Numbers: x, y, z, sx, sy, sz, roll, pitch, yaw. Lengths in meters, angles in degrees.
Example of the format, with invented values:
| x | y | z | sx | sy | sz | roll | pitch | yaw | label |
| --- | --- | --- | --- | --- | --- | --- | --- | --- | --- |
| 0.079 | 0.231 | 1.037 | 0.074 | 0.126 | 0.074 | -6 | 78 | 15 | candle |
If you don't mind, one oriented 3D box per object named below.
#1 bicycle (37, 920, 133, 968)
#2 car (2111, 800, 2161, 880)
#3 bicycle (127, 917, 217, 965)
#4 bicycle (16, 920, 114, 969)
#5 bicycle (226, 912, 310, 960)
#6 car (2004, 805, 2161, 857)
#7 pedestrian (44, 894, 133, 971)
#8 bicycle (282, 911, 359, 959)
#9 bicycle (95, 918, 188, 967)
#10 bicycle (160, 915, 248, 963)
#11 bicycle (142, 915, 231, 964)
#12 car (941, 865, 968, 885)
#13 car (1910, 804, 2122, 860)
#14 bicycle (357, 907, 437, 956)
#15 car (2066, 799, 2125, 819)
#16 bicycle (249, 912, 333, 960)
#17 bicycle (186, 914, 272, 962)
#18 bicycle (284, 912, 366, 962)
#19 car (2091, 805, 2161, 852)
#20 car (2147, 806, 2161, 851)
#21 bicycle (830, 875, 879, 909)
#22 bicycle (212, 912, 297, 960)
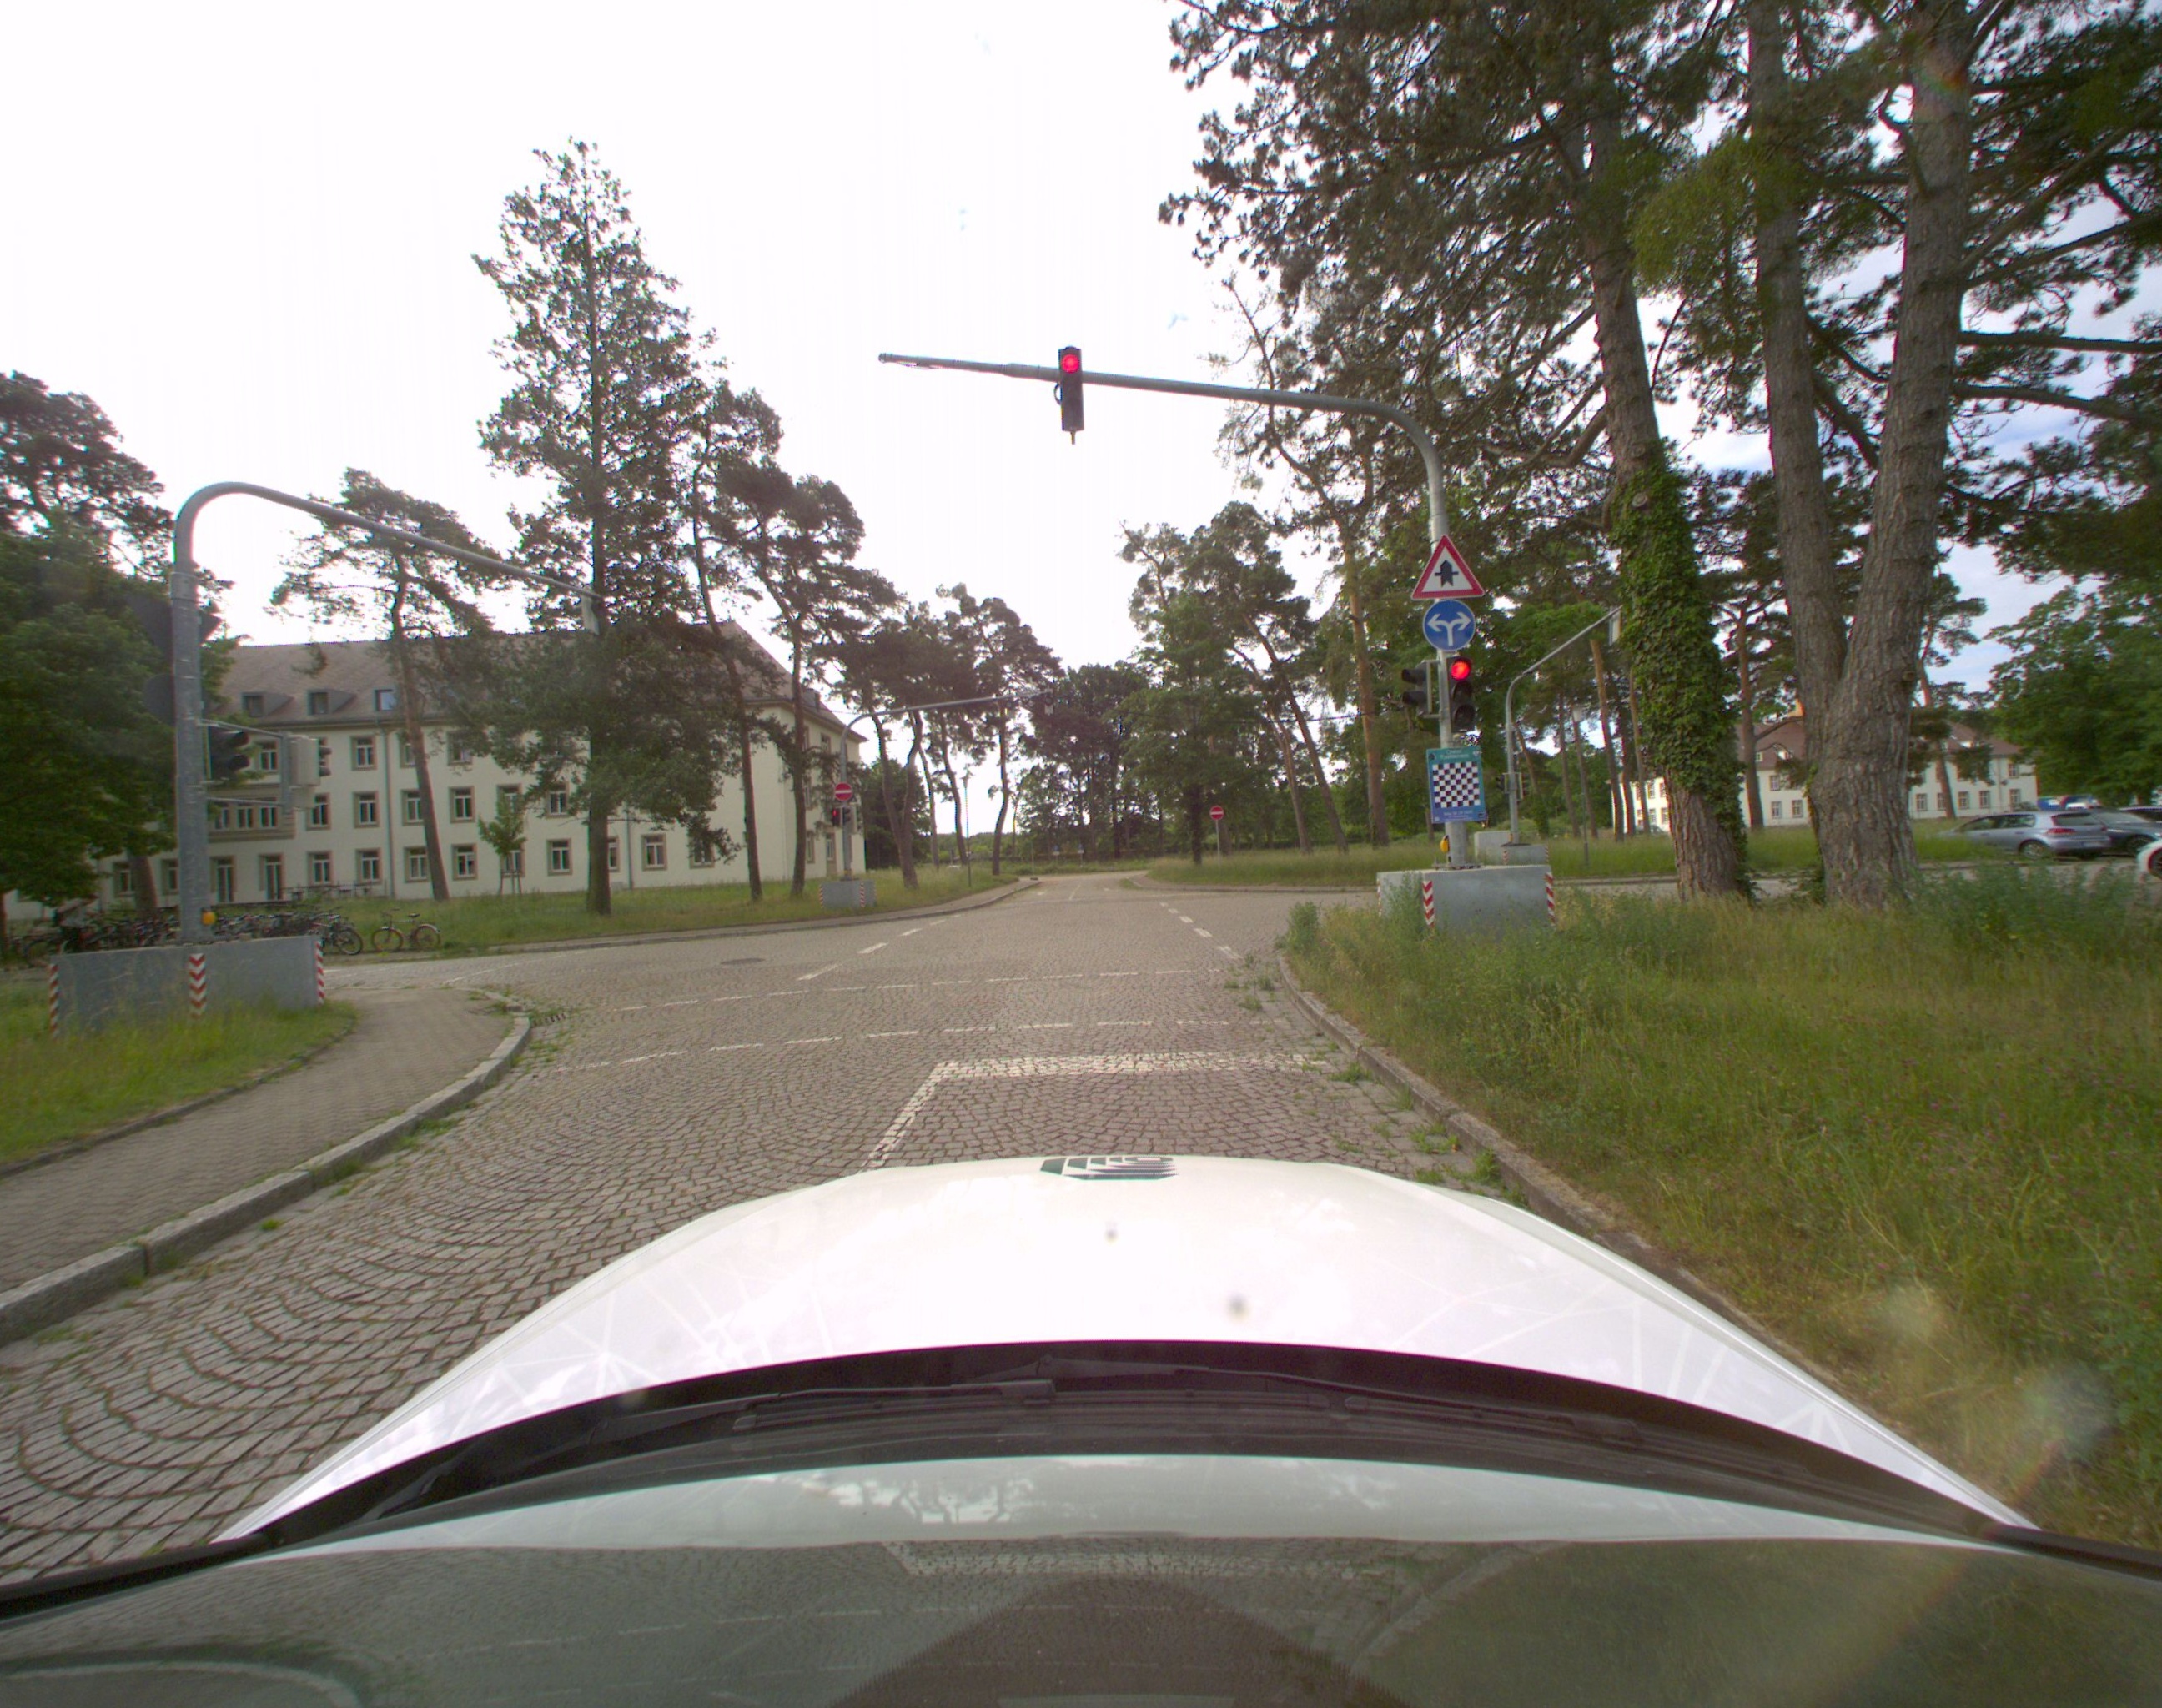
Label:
| x | y | z | sx | sy | sz | roll | pitch | yaw | label |
| --- | --- | --- | --- | --- | --- | --- | --- | --- | --- |
| -26.100 | 2.341 | 21.376 | 0.512 | 1.079 | 1.586 | -3 | 0 | 1 | bicycle |
| 21.197 | -0.366 | 13.677 | 1.843 | 1.487 | 4.605 | -2 | -3 | -2 | car |
| -23.777 | 2.261 | 21.334 | 0.512 | 1.079 | 1.586 | -3 | 0 | 1 | bicycle |
| -26.600 | 2.354 | 21.368 | 0.512 | 1.079 | 1.586 | -3 | 0 | 1 | bicycle |
| -21.329 | 2.136 | 21.404 | 0.512 | 1.079 | 1.586 | -3 | 0 | 1 | bicycle |
| 31.155 | -0.681 | 24.648 | 1.727 | 1.468 | 4.246 | -3 | 0 | 2 | car |
| -25.199 | 1.973 | 20.688 | 1.050 | 1.788 | 1.165 | -3 | 1 | 29 | pedestrian |
| -19.948 | 2.101 | 21.395 | 0.513 | 1.079 | 1.584 | -3 | 0 | -2 | bicycle |
| -24.572 | 2.297 | 21.337 | 0.512 | 1.079 | 1.586 | -3 | 0 | 1 | bicycle |
| -22.942 | 2.208 | 21.346 | 0.512 | 1.079 | 1.586 | -3 | 0 | 1 | bicycle |
| -23.393 | 2.222 | 21.341 | 0.512 | 1.079 | 1.586 | -3 | 0 | 1 | bicycle |
| -12.088 | 1.985 | 77.955 | 1.988 | 1.846 | 3.997 | -1 | 0 | -2 | car |
| 28.541 | -0.624 | 25.090 | 1.727 | 1.509 | 4.246 | -3 | 0 | 2 | car |
| -16.923 | 1.912 | 20.168 | 1.460 | 1.065 | 0.516 | -3 | -1 | -1 | bicycle |
| 109.691 | -4.887 | 88.088 | 4.049 | 1.905 | 1.927 | -1 | -1 | -2 | car |
| -20.627 | 2.118 | 21.309 | 0.512 | 1.079 | 1.587 | -3 | 0 | 4 | bicycle |
| -22.320 | 2.170 | 21.365 | 0.512 | 1.079 | 1.586 | -3 | 0 | 1 | bicycle |
| -18.558 | 2.025 | 20.007 | 1.460 | 1.079 | 0.516 | -3 | -1 | -1 | bicycle |
| 33.905 | -0.816 | 24.619 | 1.725 | 1.468 | 4.252 | -3 | 0 | 7 | car |
| 36.282 | -0.875 | 25.032 | 1.725 | 1.468 | 4.252 | -3 | 0 | 7 | car |
| -7.722 | 1.295 | 27.836 | 1.460 | 1.065 | 0.516 | -3 | 1 | -1 | bicycle |
| -21.689 | 2.144 | 21.410 | 0.512 | 1.079 | 1.586 | -3 | 0 | 1 | bicycle |
